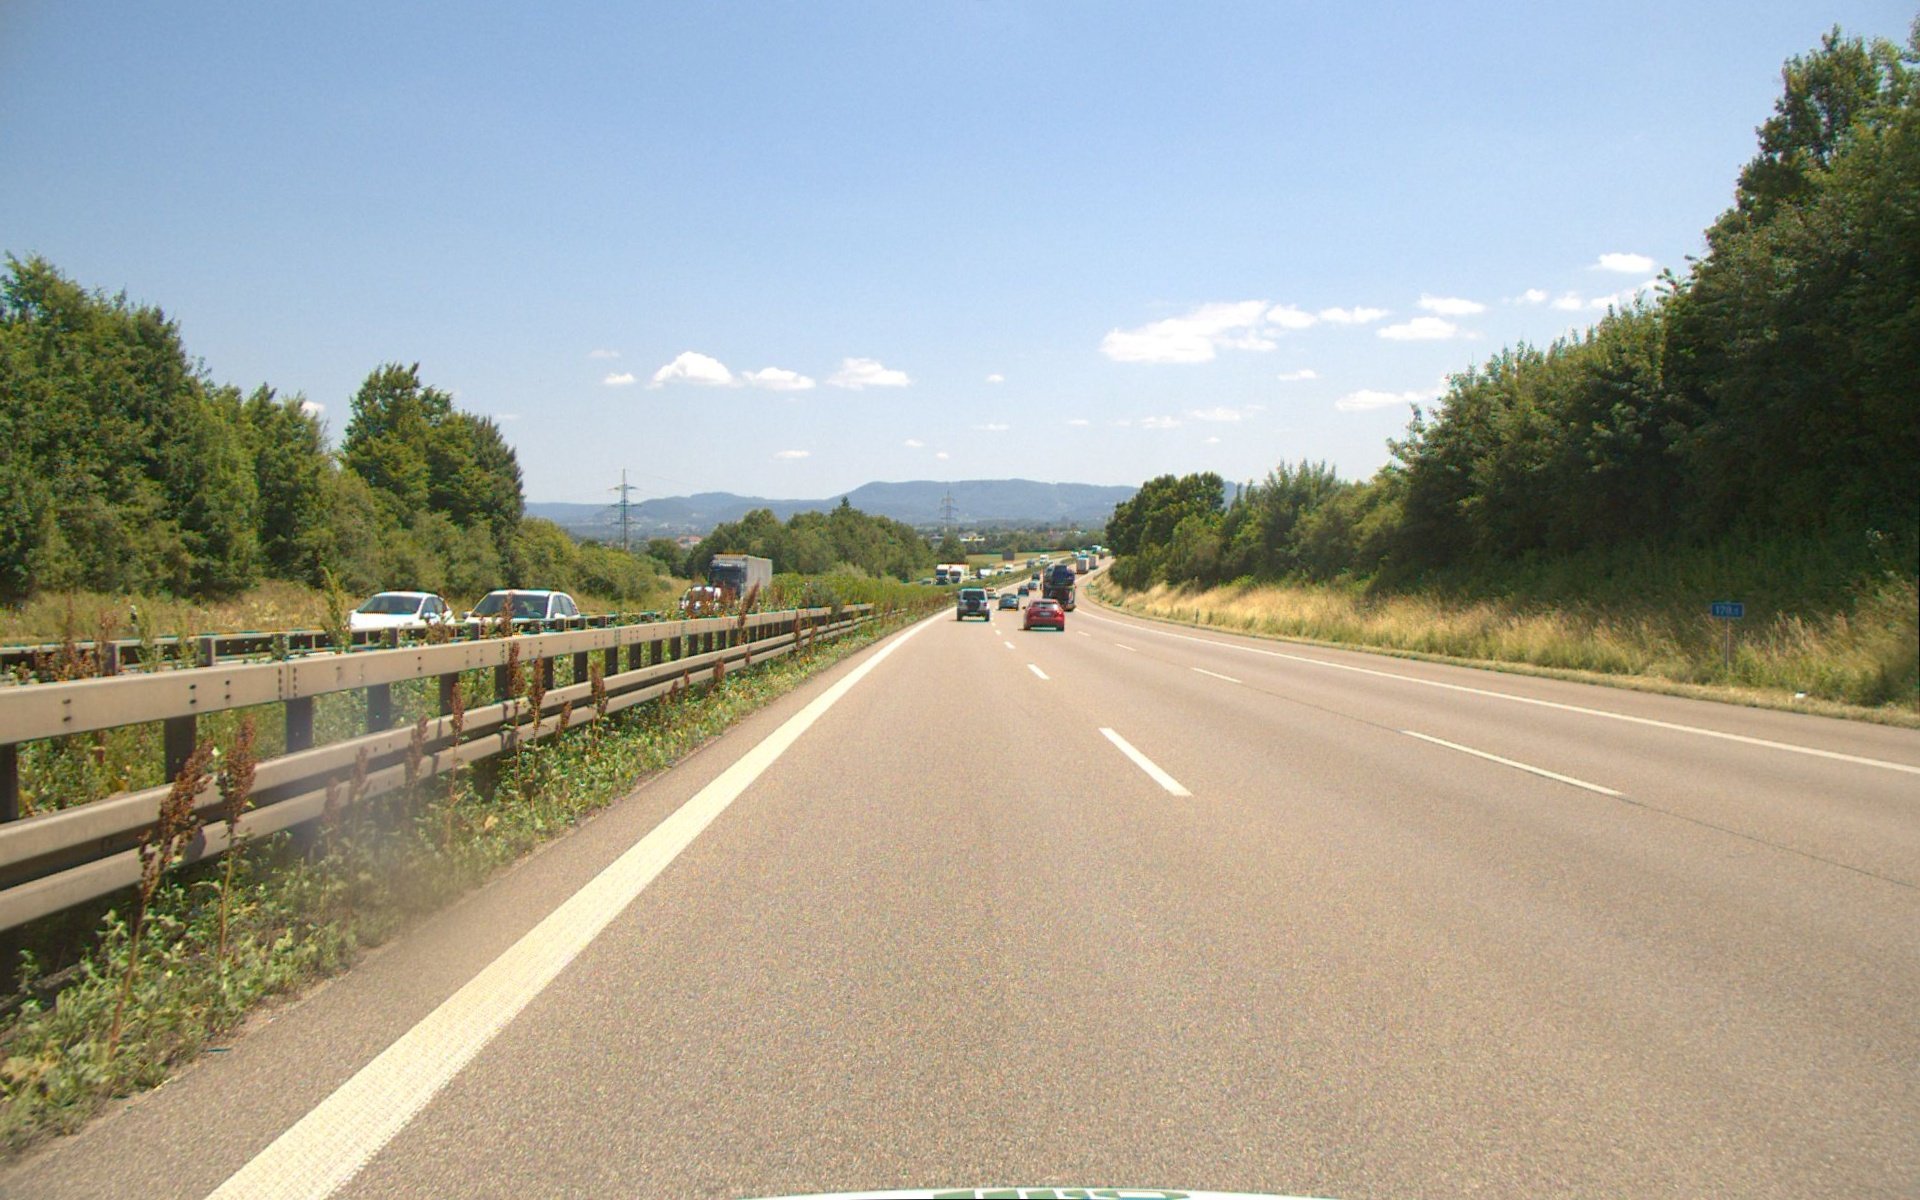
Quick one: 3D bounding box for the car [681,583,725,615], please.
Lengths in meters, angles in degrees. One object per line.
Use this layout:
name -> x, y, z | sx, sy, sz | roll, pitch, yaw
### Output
car -> -12.874, -0.023, 83.158 | 1.469, 1.540, 4.868 | 1, 0, 0

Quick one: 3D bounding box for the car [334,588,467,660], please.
car -> -12.478, 0.486, 37.158 | 1.549, 1.488, 4.357 | 1, 1, -1

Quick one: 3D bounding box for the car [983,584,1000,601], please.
car -> 4.016, -0.995, 207.645 | 1.662, 2.048, 3.826 | 1, 1, 8

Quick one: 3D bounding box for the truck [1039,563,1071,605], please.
truck -> 9.039, -1.552, 157.240 | 2.697, 3.919, 6.645 | 1, 1, 1

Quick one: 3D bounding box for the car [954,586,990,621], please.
car -> 0.674, 0.182, 97.591 | 2.041, 1.861, 4.753 | 1, 1, -1

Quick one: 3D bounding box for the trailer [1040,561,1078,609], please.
trailer -> 8.895, -1.433, 149.459 | 2.796, 4.062, 15.401 | 1, 1, 1

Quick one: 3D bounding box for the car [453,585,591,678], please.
car -> -8.350, 0.551, 31.882 | 1.642, 1.581, 4.390 | 1, 1, -3

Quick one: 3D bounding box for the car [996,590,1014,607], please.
car -> 3.836, -0.133, 142.806 | 1.422, 1.289, 3.539 | 1, 1, 0

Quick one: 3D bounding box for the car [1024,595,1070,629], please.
car -> 3.936, 0.506, 75.496 | 1.652, 1.403, 3.946 | 1, 1, -4

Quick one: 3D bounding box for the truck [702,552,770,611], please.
truck -> -16.702, -1.353, 124.759 | 2.914, 4.084, 16.826 | 1, 0, 0
